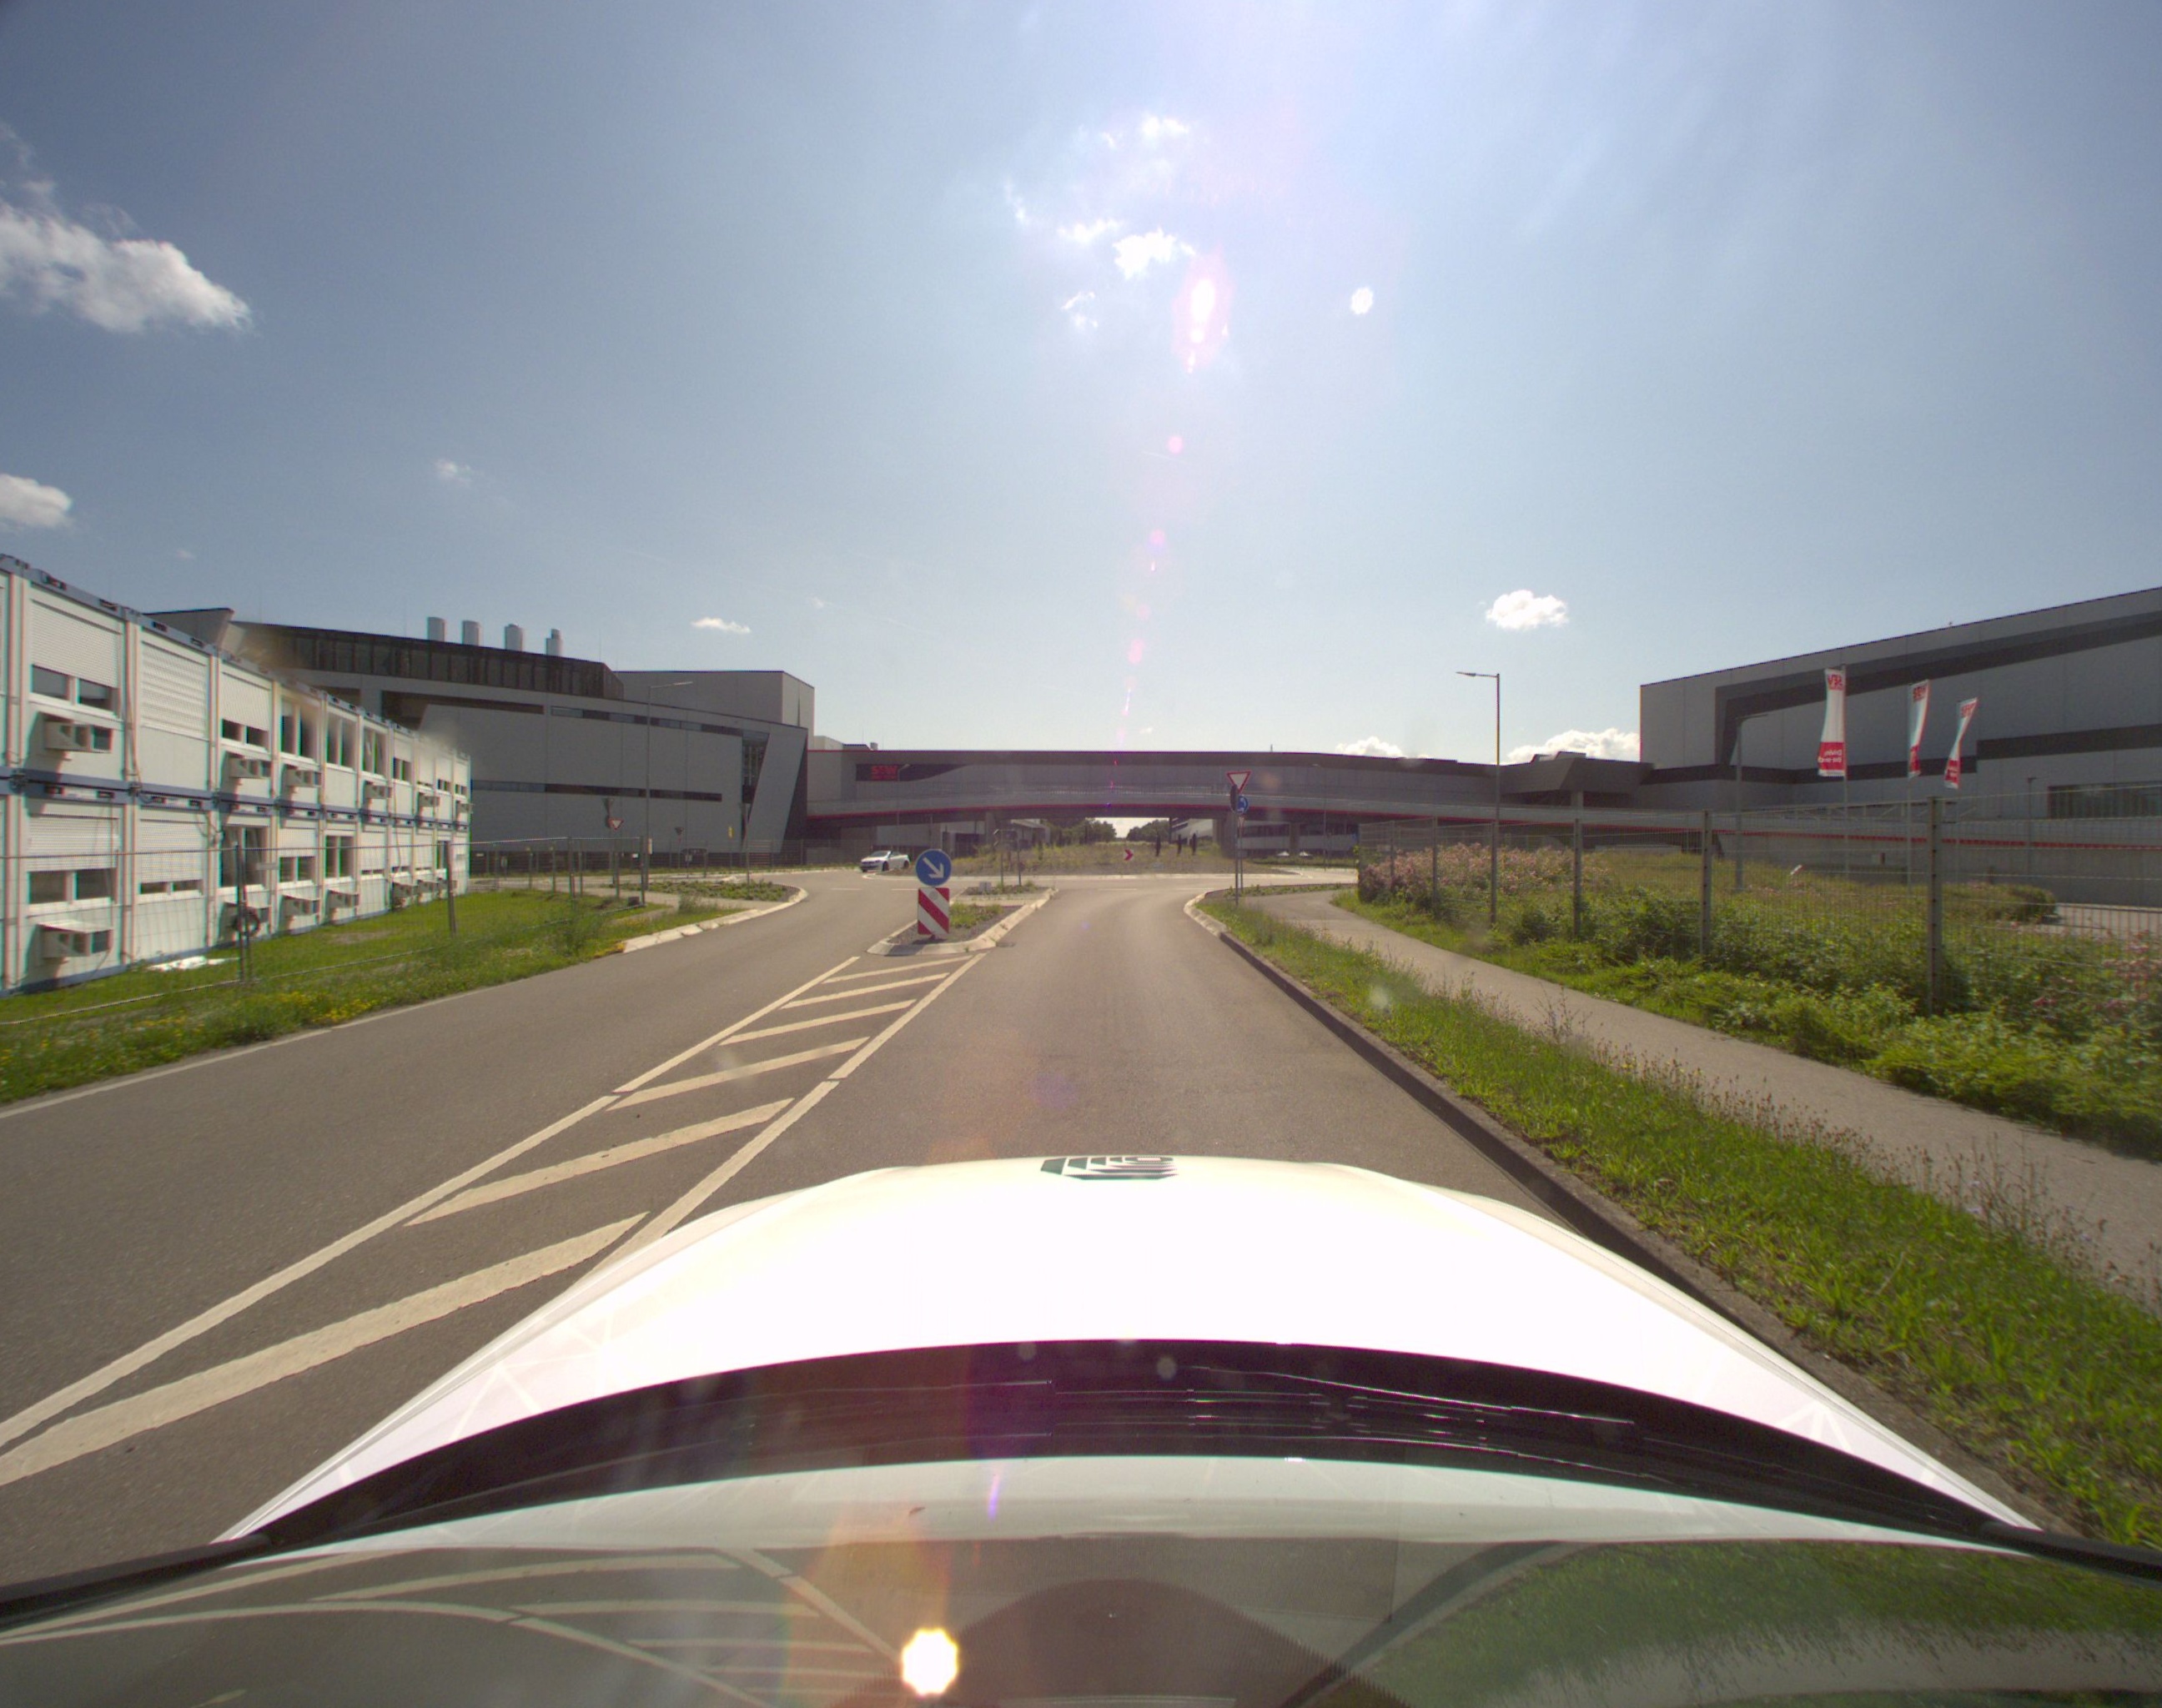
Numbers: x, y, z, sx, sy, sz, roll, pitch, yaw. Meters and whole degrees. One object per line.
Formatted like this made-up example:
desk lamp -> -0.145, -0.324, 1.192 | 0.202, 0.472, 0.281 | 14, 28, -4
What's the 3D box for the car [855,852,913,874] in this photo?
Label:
car -> -13.256, 0.588, 54.998 | 1.755, 1.428, 4.073 | -1, -1, 21
